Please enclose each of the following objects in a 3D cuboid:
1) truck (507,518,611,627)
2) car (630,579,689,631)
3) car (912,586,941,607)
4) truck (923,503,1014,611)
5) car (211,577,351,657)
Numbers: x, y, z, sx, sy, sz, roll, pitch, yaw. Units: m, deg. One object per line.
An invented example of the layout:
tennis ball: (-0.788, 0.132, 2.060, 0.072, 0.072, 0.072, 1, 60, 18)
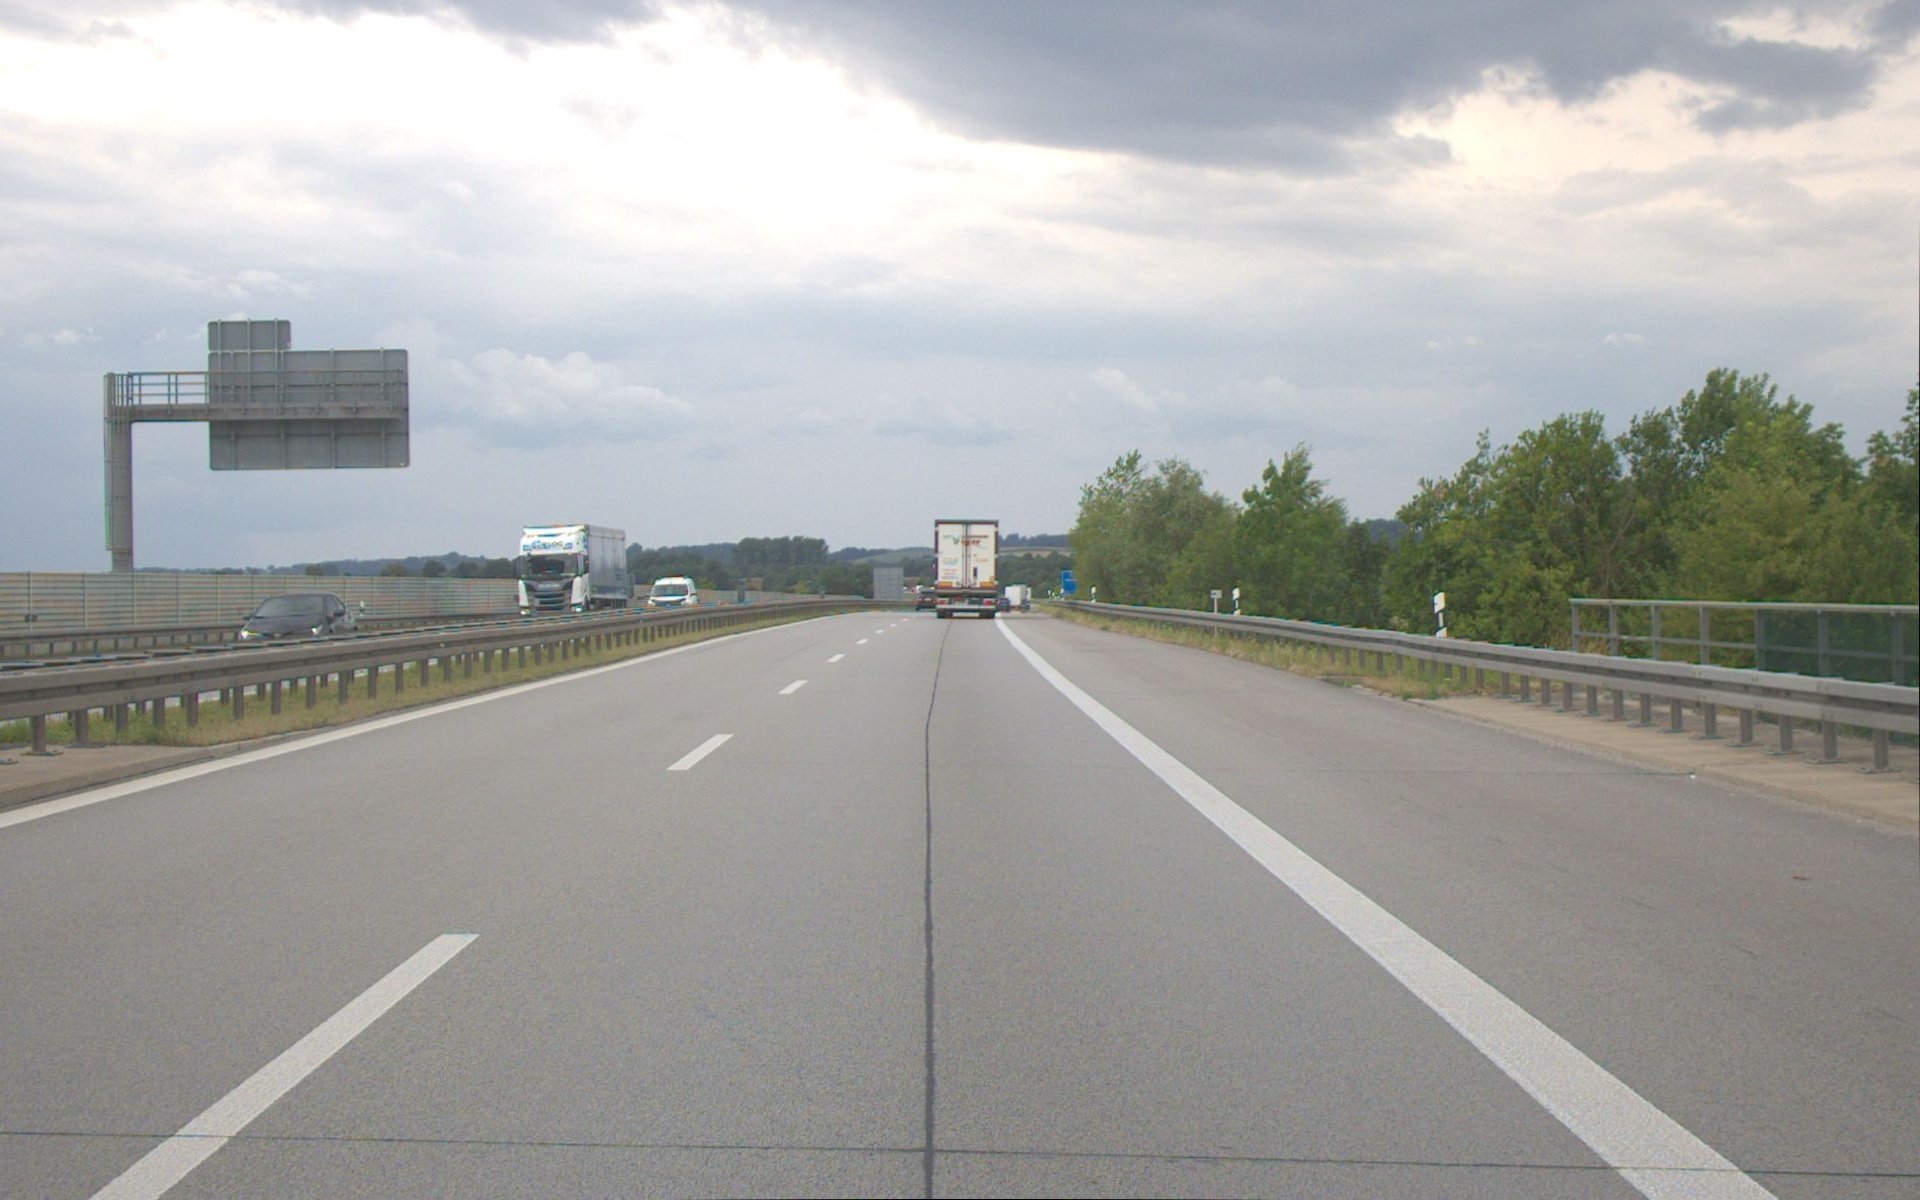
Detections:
truck: (-15.559, -1.062, 133.805, 3.109, 4.000, 7.324, -2, 0, 0)
car: (-11.664, 0.204, 133.667, 1.814, 1.840, 4.181, 5, 0, 0)
car: (-2.463, -0.278, 254.175, 1.993, 1.415, 4.001, 1, 1, -3)
truck: (0.353, -1.729, 147.968, 3.672, 4.397, 16.340, 0, 0, 0)
car: (-13.585, 0.321, 68.988, 1.796, 1.369, 4.683, -6, 0, 0)
